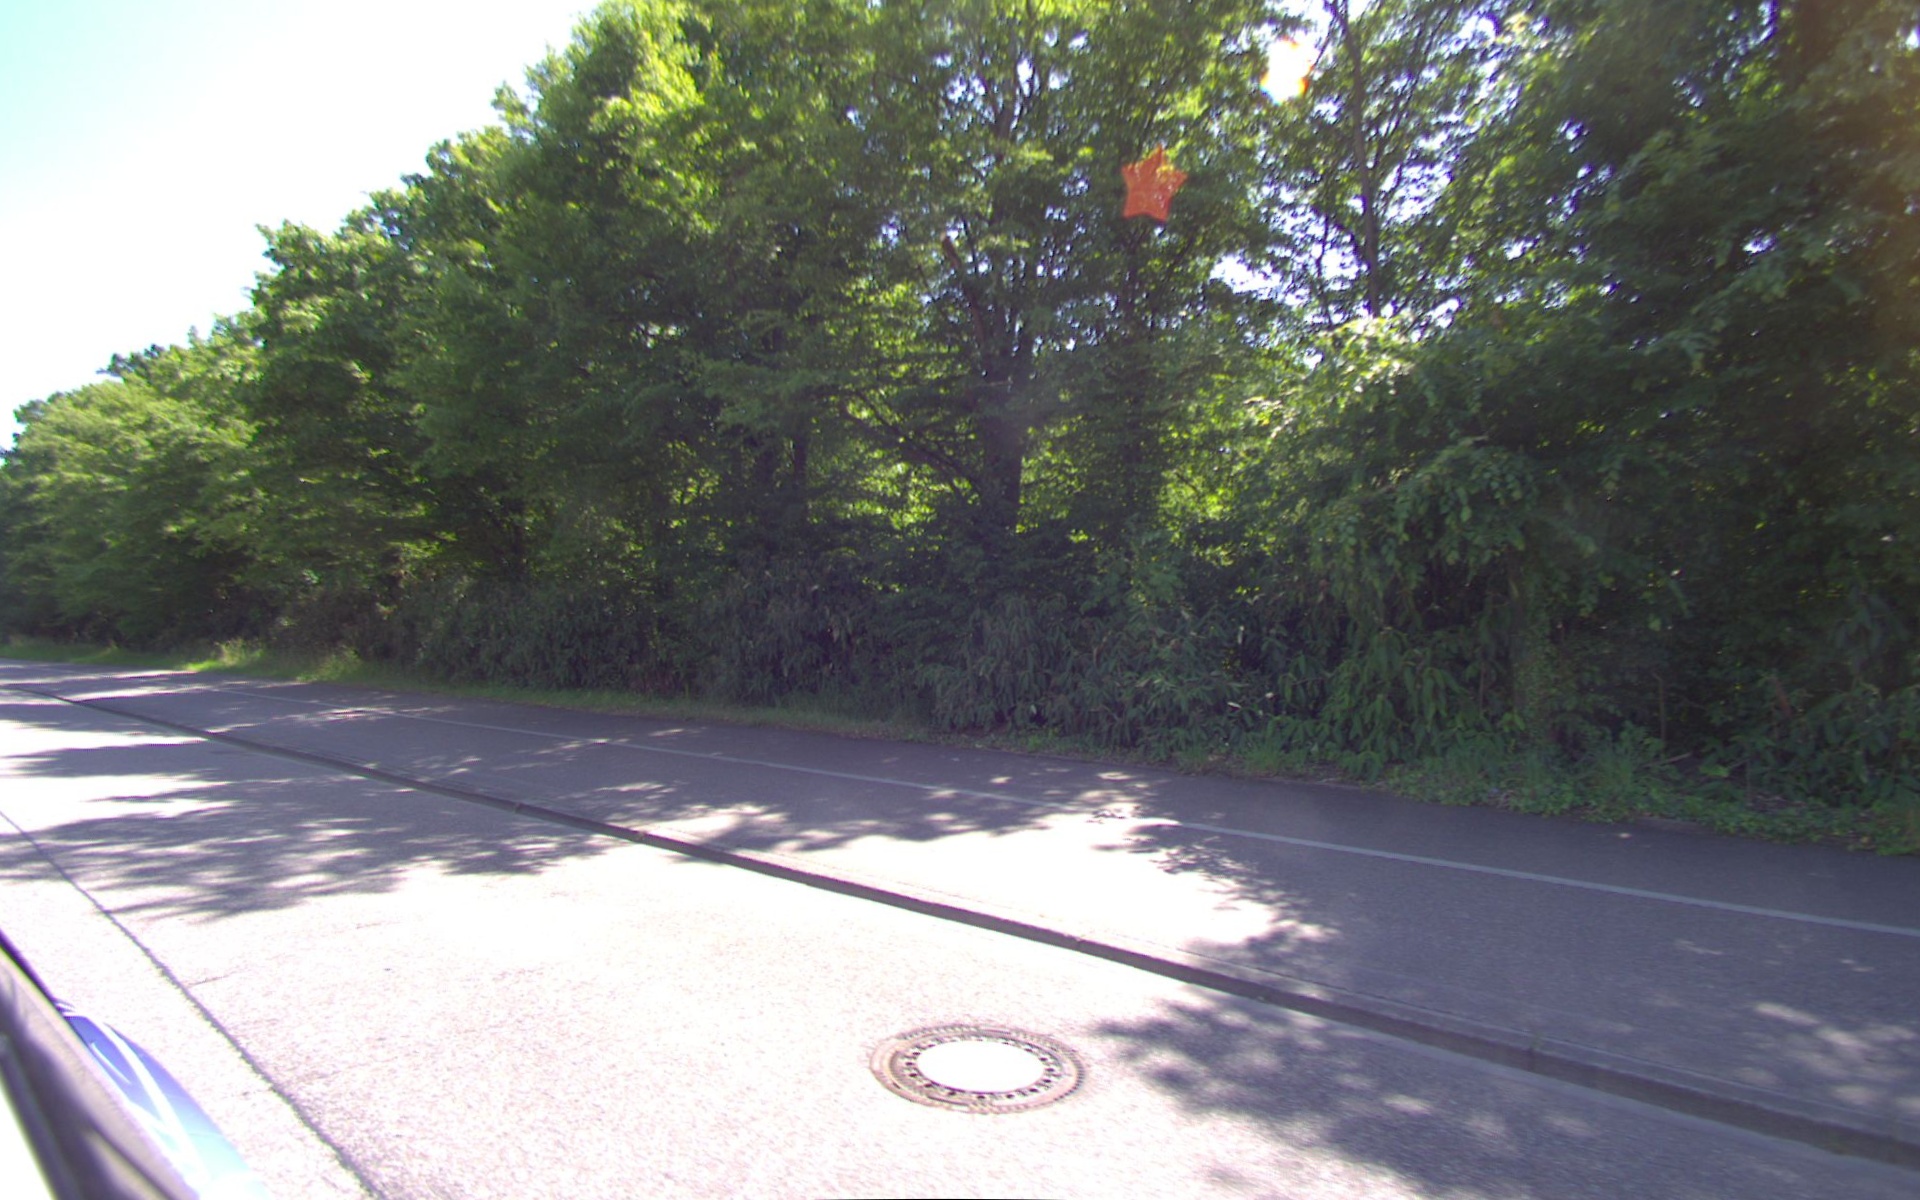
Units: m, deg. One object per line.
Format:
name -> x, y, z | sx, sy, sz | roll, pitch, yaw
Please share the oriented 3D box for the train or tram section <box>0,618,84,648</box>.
train or tram section -> -111.500, 3.969, 121.445 | 9.190, 3.492, 2.792 | 0, -2, -20
